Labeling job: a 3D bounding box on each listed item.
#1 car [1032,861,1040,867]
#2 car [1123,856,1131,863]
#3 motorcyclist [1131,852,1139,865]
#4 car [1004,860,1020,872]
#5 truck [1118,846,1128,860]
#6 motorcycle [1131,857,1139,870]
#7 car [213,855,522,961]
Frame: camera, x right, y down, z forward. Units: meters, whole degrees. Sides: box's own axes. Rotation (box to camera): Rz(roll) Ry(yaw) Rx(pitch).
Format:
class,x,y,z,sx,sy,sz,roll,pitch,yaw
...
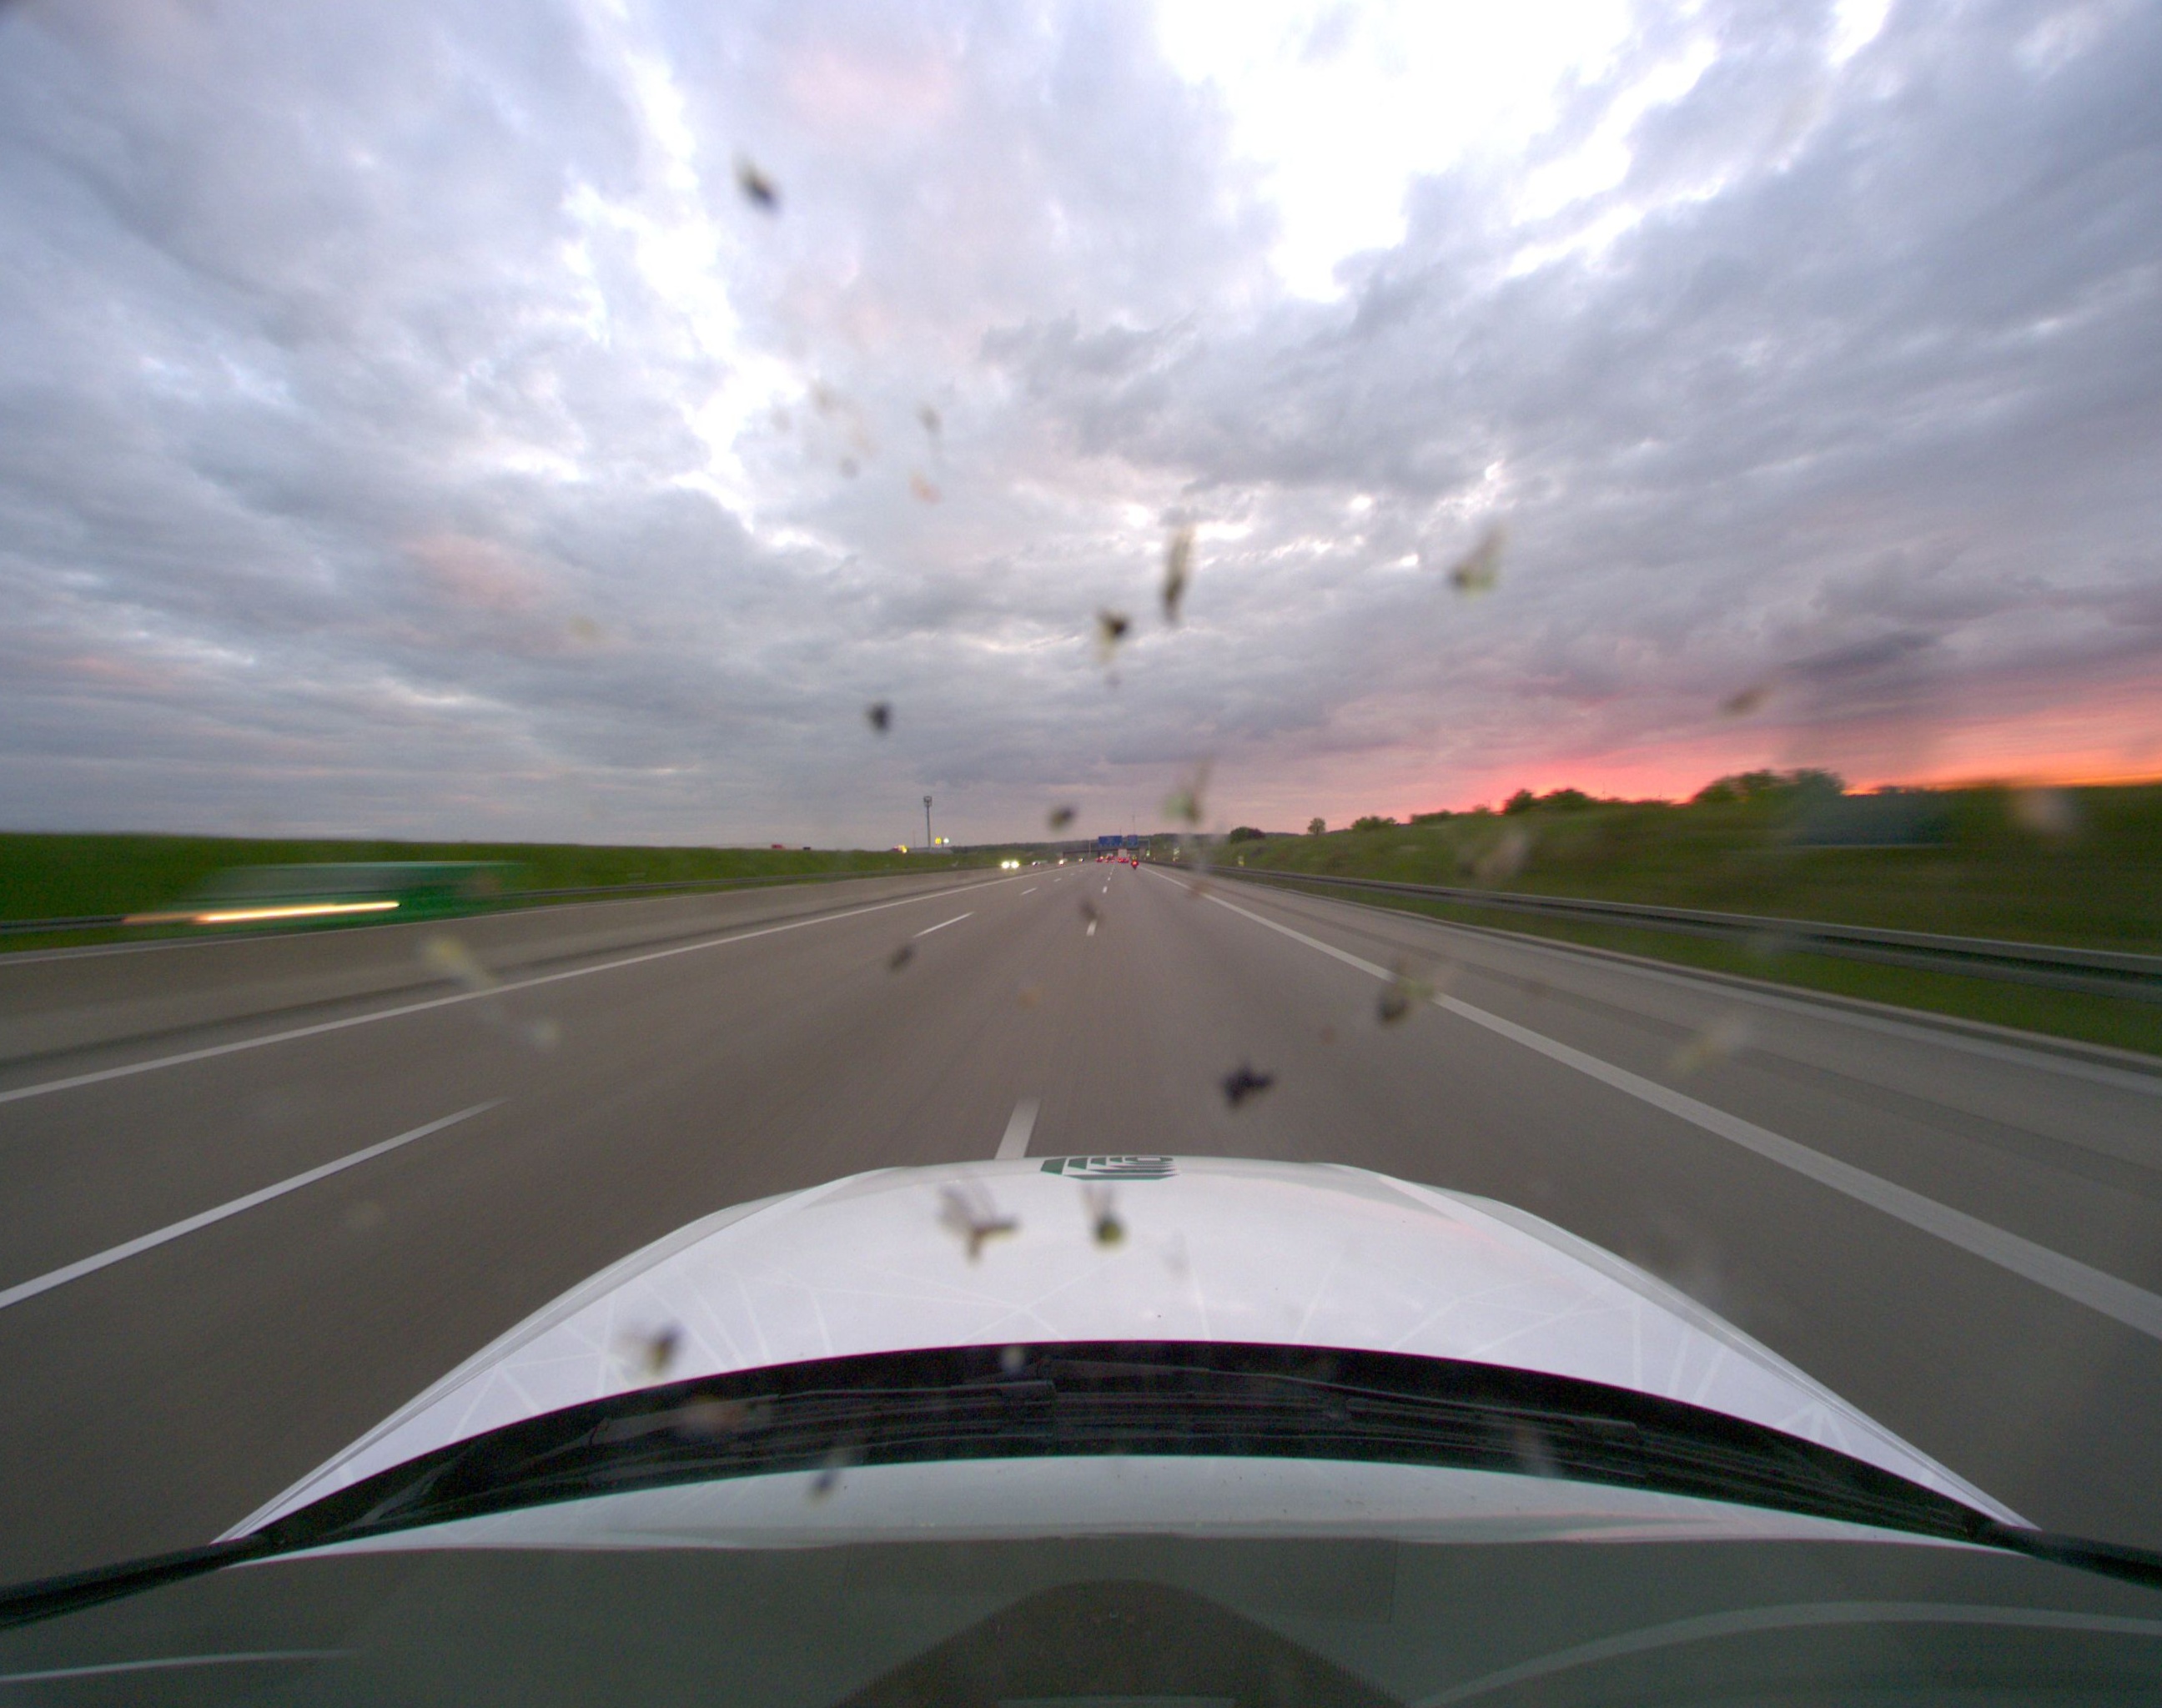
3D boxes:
class,x,y,z,sx,sy,sz,roll,pitch,yaw
car,-11.892,2.555,214.748,1.732,1.392,4.344,-2,0,2
car,11.630,1.360,208.073,1.911,1.579,4.001,-2,0,2
motorcyclist,6.145,0.509,93.067,0.862,1.487,1.169,-1,0,4
car,-11.616,2.003,137.318,2.093,1.810,5.021,-2,0,0
truck,13.001,-0.261,251.577,3.220,4.227,9.606,-1,0,3
motorcycle,6.154,1.079,93.172,0.898,1.346,2.350,-2,1,3
car,-16.207,1.085,19.110,1.995,2.013,5.740,-2,0,2
